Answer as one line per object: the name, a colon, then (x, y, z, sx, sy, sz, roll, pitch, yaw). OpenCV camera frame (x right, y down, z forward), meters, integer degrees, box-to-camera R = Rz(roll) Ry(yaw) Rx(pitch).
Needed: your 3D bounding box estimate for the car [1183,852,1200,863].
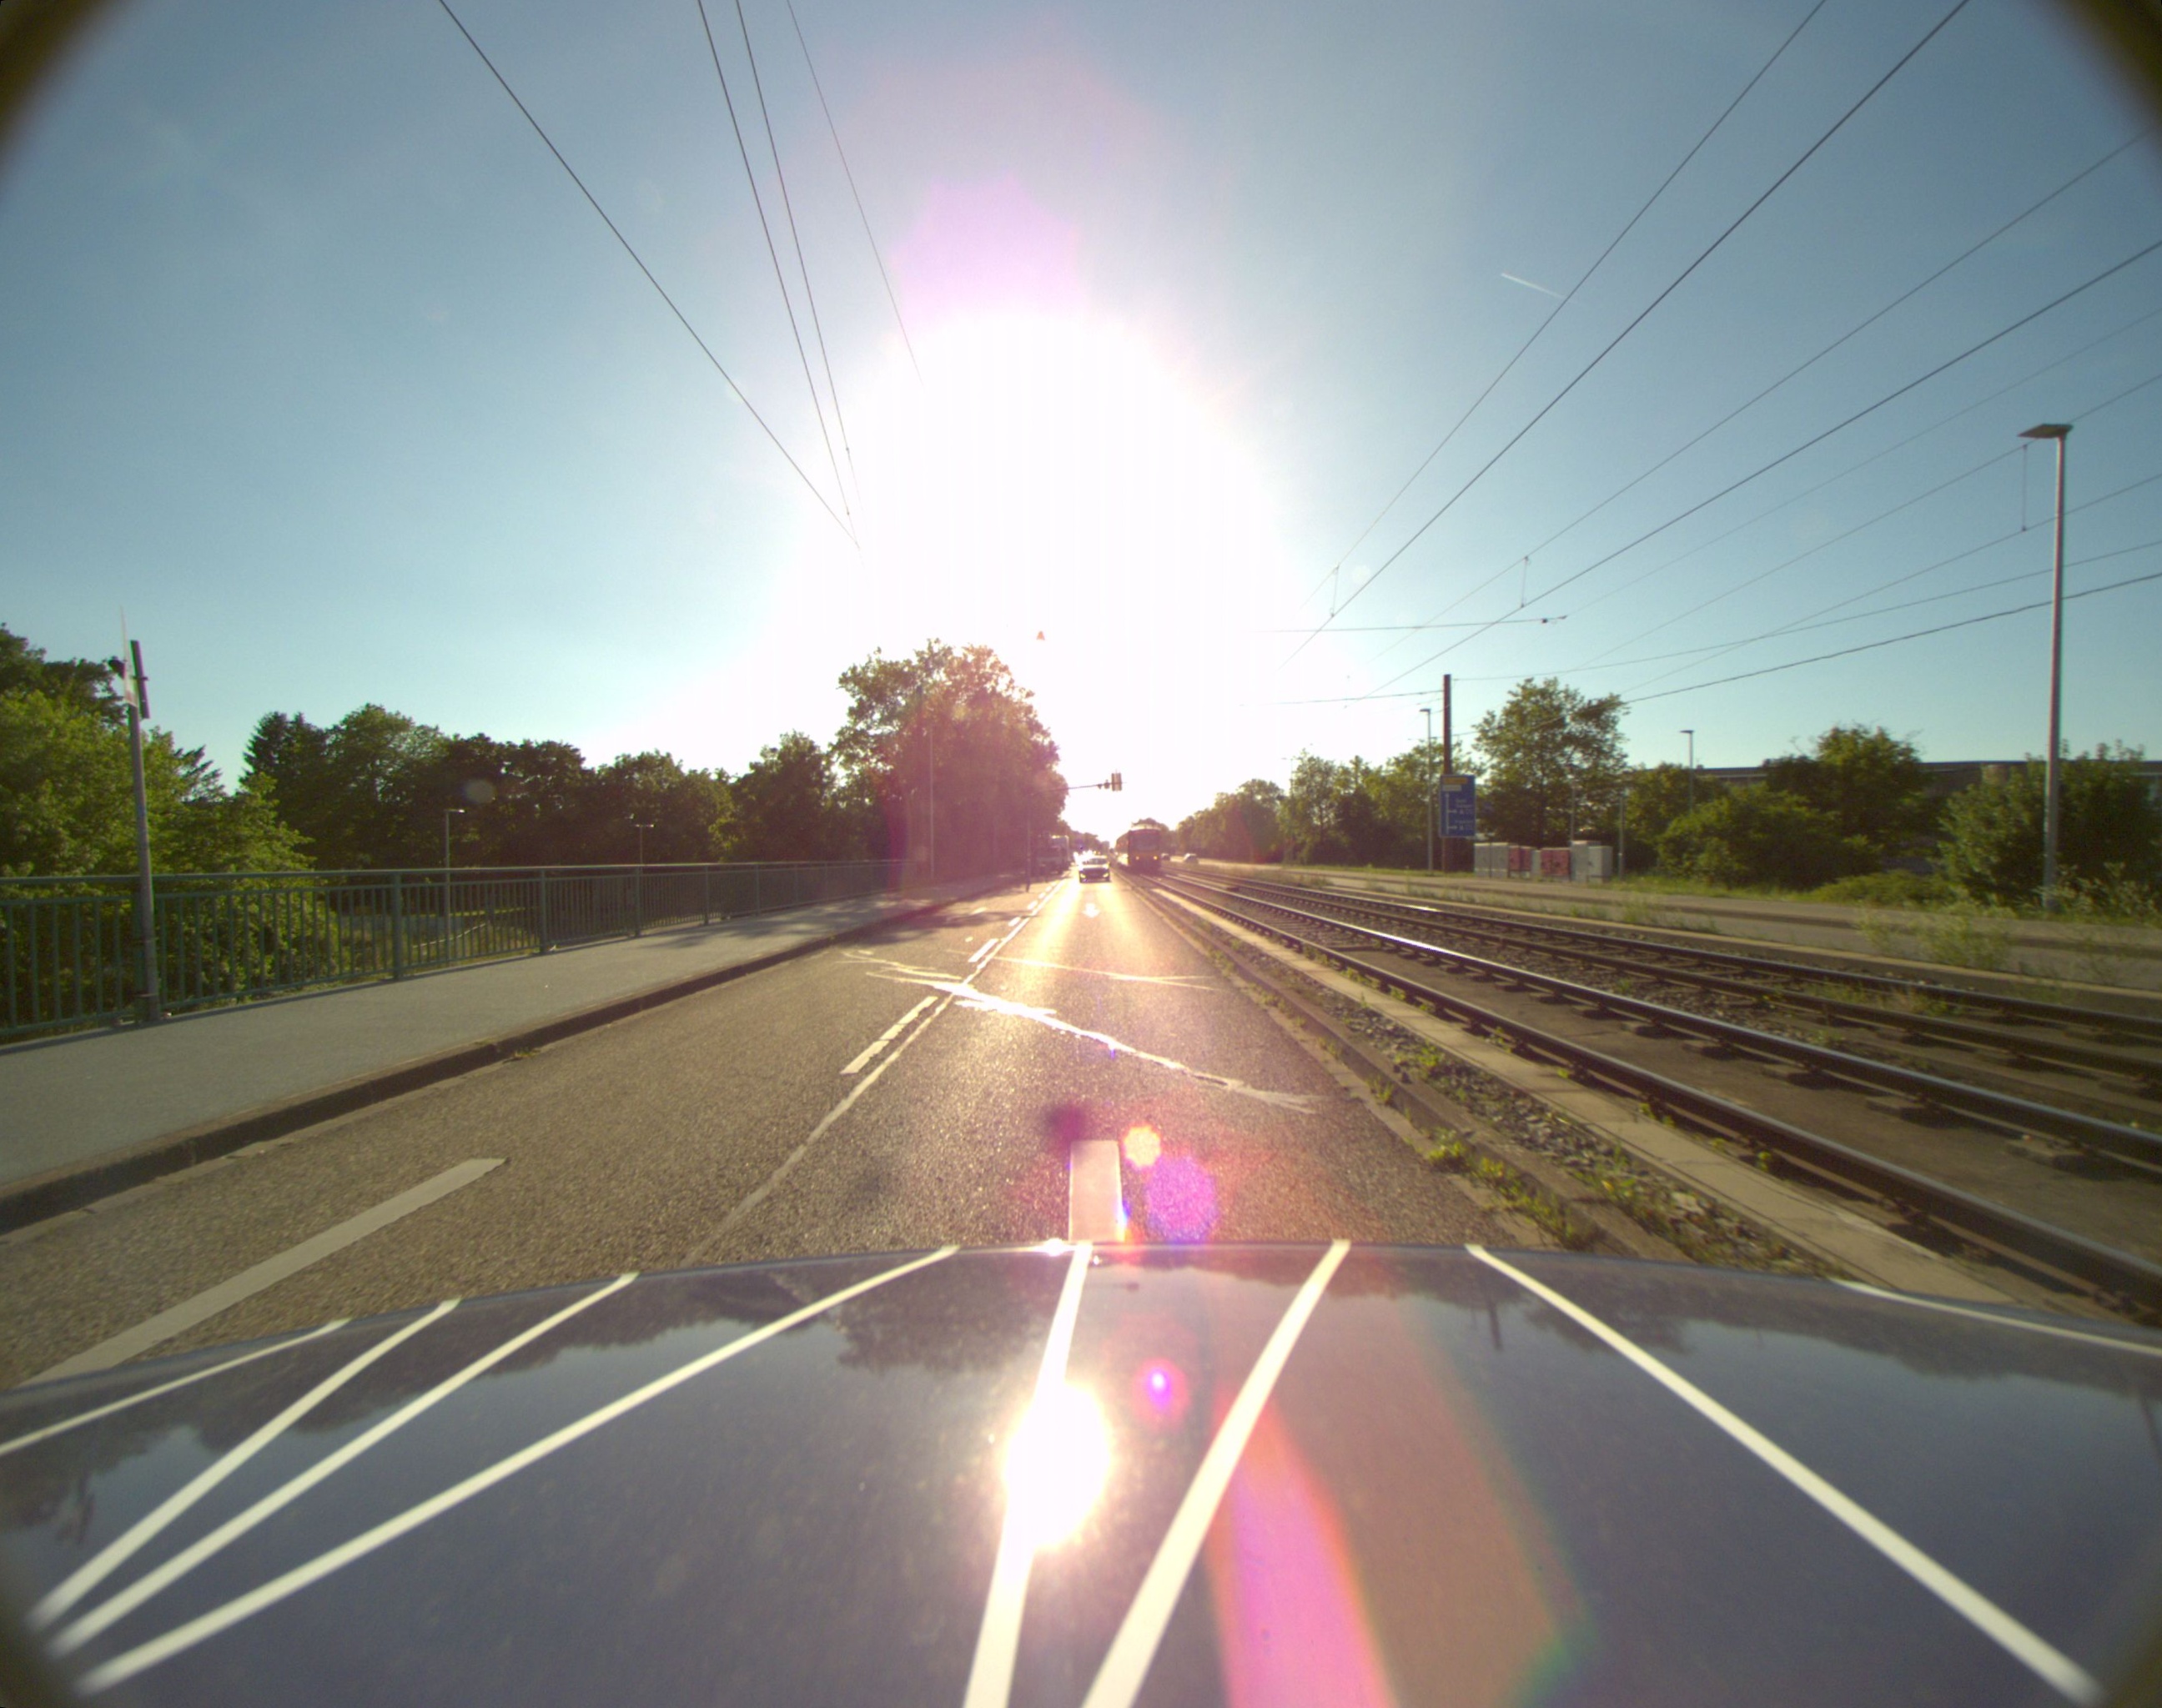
car: (15.078, 0.509, 103.541, 1.801, 1.345, 4.000, -2, 1, 1)

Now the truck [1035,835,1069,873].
truck: (-2.558, -0.006, 69.714, 2.610, 3.185, 7.870, -1, 0, 1)

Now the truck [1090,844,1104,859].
truck: (3.842, -0.604, 185.888, 3.313, 3.283, 15.322, -1, 0, 1)

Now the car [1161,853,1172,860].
car: (16.791, 0.481, 149.191, 1.801, 1.345, 4.000, -2, 1, 1)

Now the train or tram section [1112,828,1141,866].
train or tram section: (4.971, -0.767, 85.146, 2.569, 3.878, 11.671, -1, 0, 0)

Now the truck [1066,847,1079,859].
truck: (-1.501, -0.172, 135.133, 2.097, 1.961, 6.027, 0, 0, 2)

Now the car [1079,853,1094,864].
car: (0.733, 0.610, 96.574, 1.801, 1.345, 4.000, 0, 0, 2)

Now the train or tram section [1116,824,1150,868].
train or tram section: (4.892, -0.731, 73.474, 2.569, 3.878, 11.671, -1, 0, 0)

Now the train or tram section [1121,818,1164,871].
train or tram section: (4.821, -0.710, 61.809, 2.569, 3.878, 11.671, -1, 0, 0)

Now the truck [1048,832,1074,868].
truck: (-2.218, -0.414, 86.325, 2.559, 3.826, 7.870, -1, 0, 1)

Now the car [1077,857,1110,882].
car: (0.702, 0.833, 42.935, 1.801, 1.345, 4.000, 0, 0, 1)
